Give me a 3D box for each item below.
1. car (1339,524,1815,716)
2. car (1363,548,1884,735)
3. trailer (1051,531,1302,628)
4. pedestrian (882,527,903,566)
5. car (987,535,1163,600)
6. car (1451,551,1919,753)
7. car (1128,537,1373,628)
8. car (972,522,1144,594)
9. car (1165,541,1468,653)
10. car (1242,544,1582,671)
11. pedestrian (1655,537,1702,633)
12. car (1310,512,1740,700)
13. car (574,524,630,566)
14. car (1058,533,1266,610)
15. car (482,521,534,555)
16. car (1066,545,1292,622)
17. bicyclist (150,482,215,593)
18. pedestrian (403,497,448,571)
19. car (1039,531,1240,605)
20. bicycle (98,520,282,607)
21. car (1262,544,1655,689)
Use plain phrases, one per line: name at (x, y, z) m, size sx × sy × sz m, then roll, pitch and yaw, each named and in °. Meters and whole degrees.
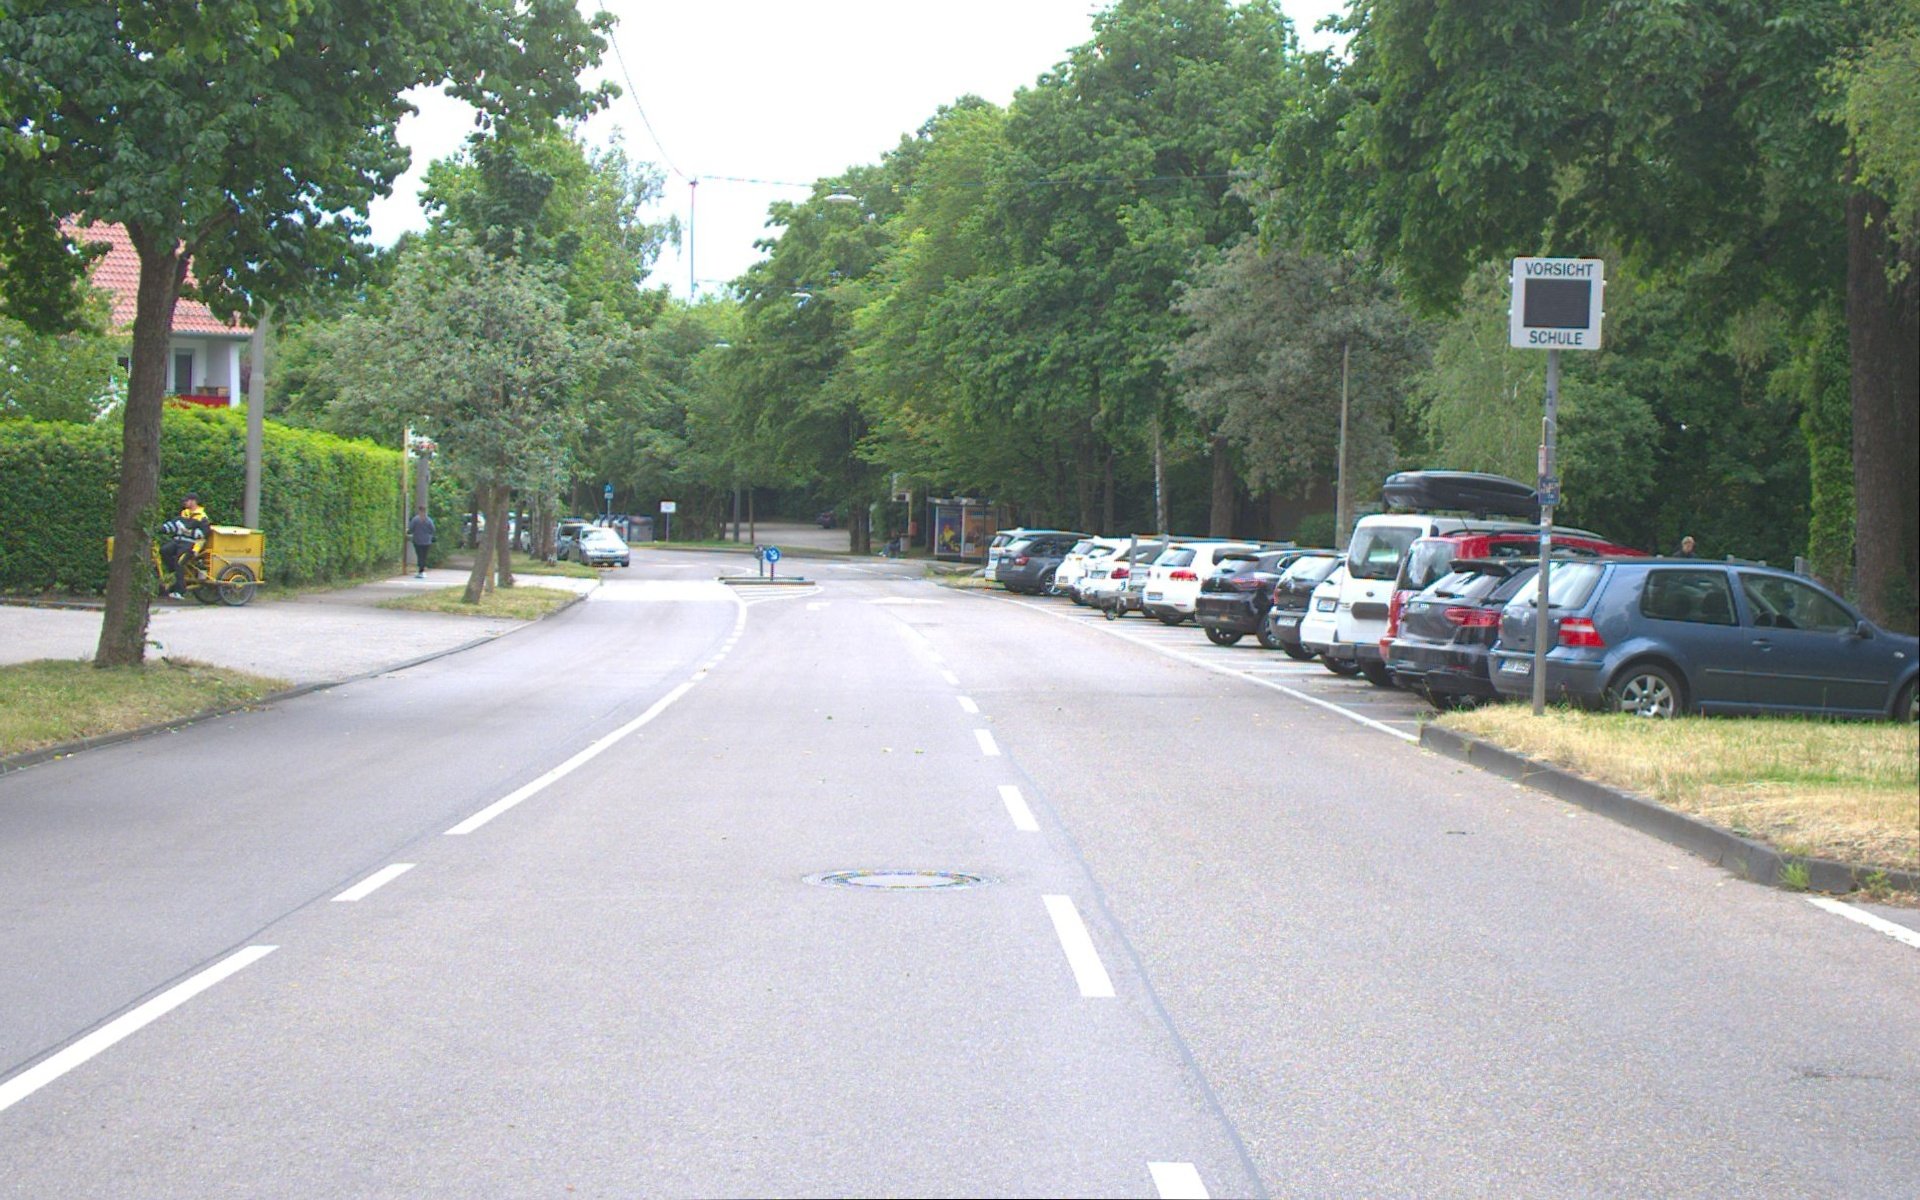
car at (5.888, 0.183, 32.940) m, size 3.995 × 1.614 × 1.885 m, roll 2°, pitch 1°, yaw -16°
car at (5.738, 0.351, 29.818) m, size 4.026 × 1.400 × 1.757 m, roll 2°, pitch 1°, yaw -18°
trailer at (3.948, -0.382, 62.728) m, size 4.153 × 1.568 × 1.712 m, roll 2°, pitch 1°, yaw -20°
pedestrian at (-2.768, -2.203, 141.350) m, size 0.741 × 1.564 × 0.651 m, roll 1°, pitch 1°, yaw 10°
car at (2.800, -0.790, 83.767) m, size 3.883 × 1.424 × 1.744 m, roll 2°, pitch 1°, yaw -20°
car at (6.155, 0.419, 27.552) m, size 3.963 × 1.400 × 1.757 m, roll 3°, pitch 1°, yaw -15°
car at (5.105, -0.308, 60.507) m, size 3.883 × 1.444 × 1.744 m, roll 2°, pitch 1°, yaw -22°
car at (2.463, -1.061, 86.549) m, size 3.883 × 1.662 × 1.744 m, roll 2°, pitch 1°, yaw -20°
car at (5.116, -0.042, 49.360) m, size 3.883 × 1.444 × 1.845 m, roll 2°, pitch 1°, yaw -24°
car at (5.830, 0.098, 44.429) m, size 3.883 × 1.444 × 1.845 m, roll 2°, pitch 1°, yaw -20°
pedestrian at (12.038, -0.256, 57.613) m, size 0.649 × 1.598 × 0.743 m, roll 1°, pitch 1°, yaw 5°
car at (5.896, 0.065, 35.829) m, size 4.085 × 1.748 × 1.787 m, roll 2°, pitch 1°, yaw -27°
car at (-13.090, -2.022, 125.619) m, size 1.866 × 1.466 × 4.001 m, roll 1°, pitch 1°, yaw -8°
car at (4.173, -0.590, 71.204) m, size 3.883 × 1.424 × 1.744 m, roll 2°, pitch 1°, yaw -20°
car at (-20.243, -2.775, 153.798) m, size 1.866 × 1.466 × 4.001 m, roll 1°, pitch 1°, yaw -14°
car at (4.163, -0.314, 65.420) m, size 3.883 × 1.305 × 1.744 m, roll 2°, pitch 1°, yaw -25°
bicyclist at (-12.129, -0.978, 53.630) m, size 0.711 × 1.691 × 0.848 m, roll 1°, pitch 2°, yaw -31°
pedestrian at (-12.620, -1.563, 81.183) m, size 0.974 × 1.724 × 0.849 m, roll 1°, pitch 1°, yaw -4°
car at (3.844, -0.682, 73.776) m, size 3.883 × 1.424 × 1.744 m, roll 2°, pitch 1°, yaw -20°
bicycle at (-12.019, -0.565, 53.720) m, size 2.643 × 1.262 × 0.848 m, roll 1°, pitch 2°, yaw -31°
car at (5.705, 0.180, 39.503) m, size 3.965 × 1.444 × 1.919 m, roll 2°, pitch 1°, yaw -16°
